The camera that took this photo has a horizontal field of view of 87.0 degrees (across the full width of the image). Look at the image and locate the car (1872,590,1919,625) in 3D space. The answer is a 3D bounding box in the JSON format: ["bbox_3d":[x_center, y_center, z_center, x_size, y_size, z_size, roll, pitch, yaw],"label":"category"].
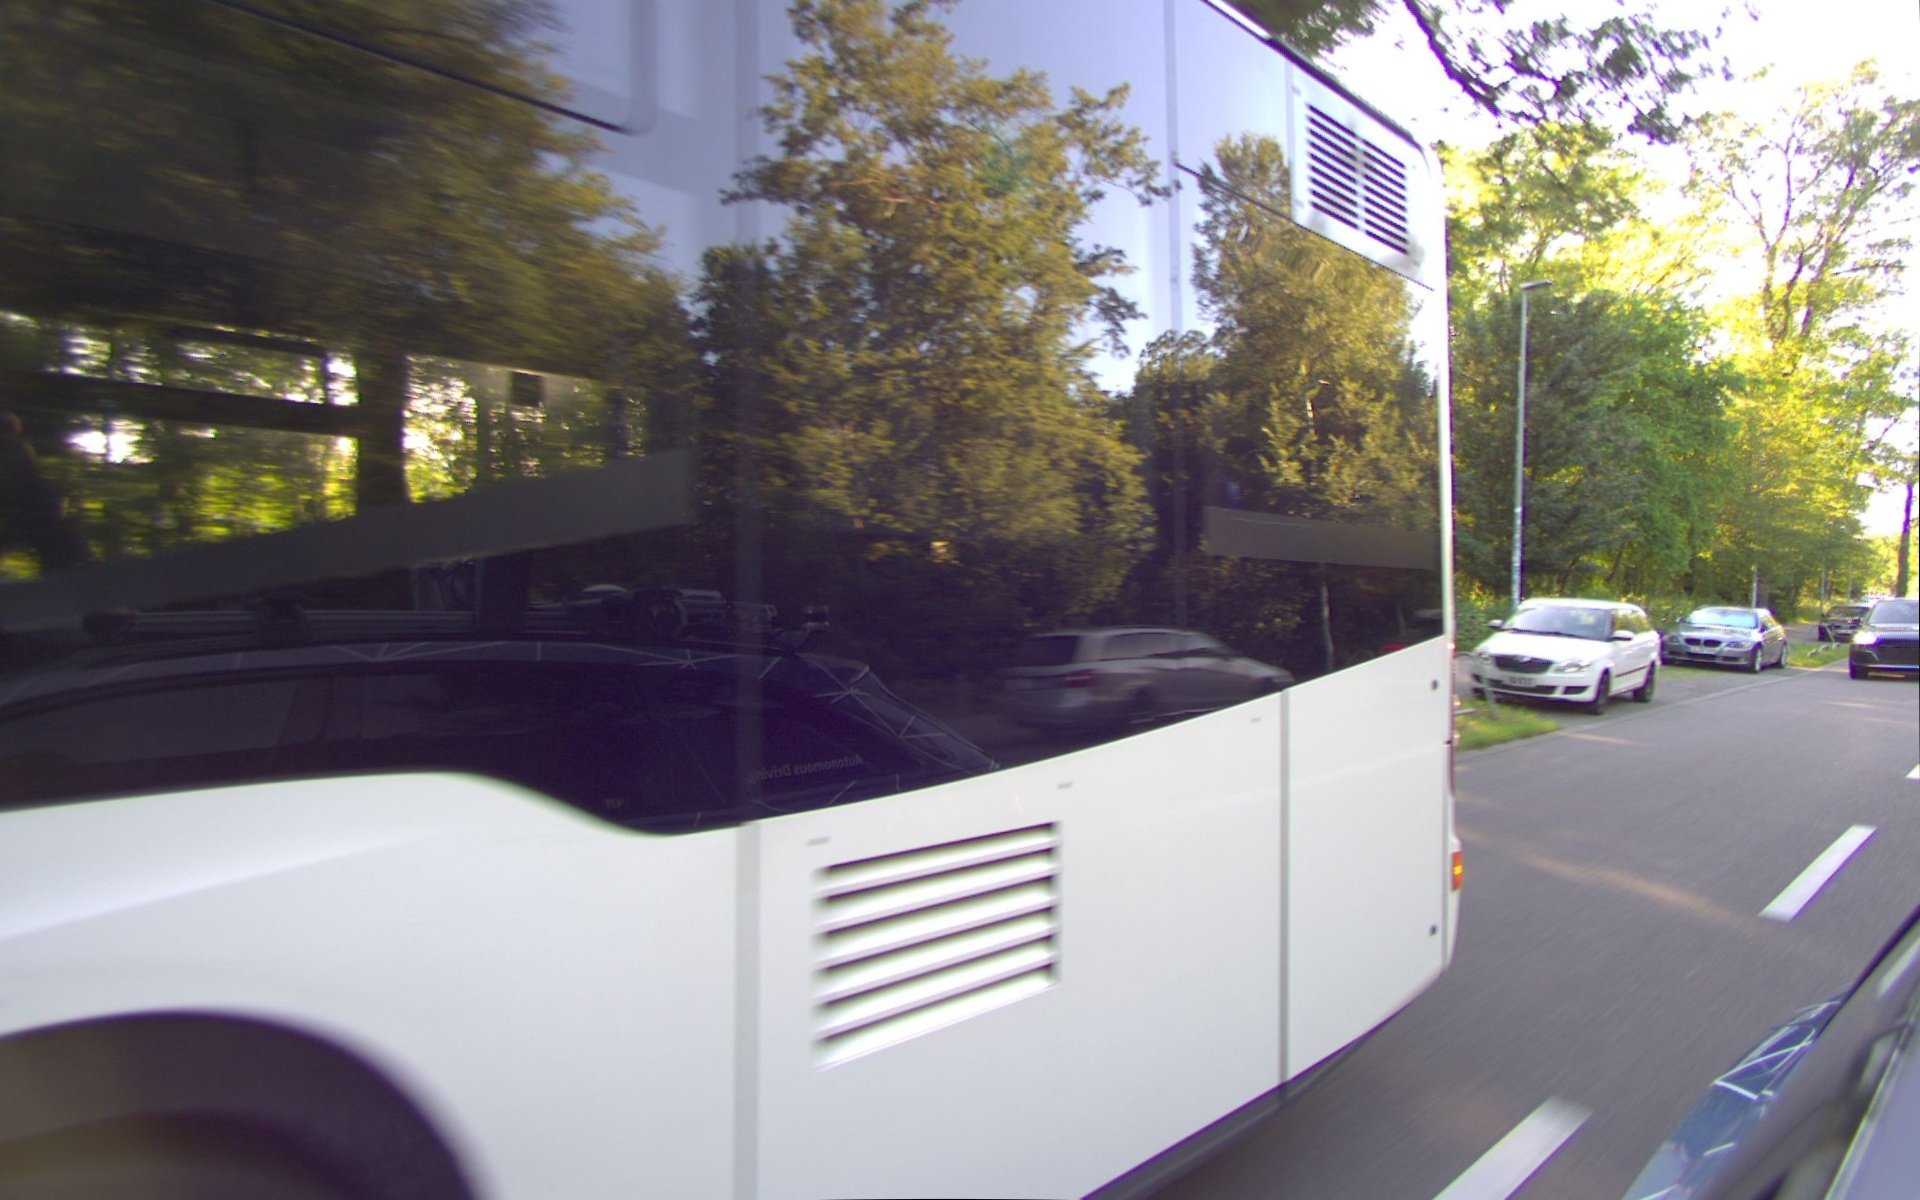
[{"bbox_3d":[48.246,0.373,51.887,4.645,1.604,1.855,0,4,-45],"label":"car"}]

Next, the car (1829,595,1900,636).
[{"bbox_3d":[34.108,0.543,38.143,3.881,1.409,1.737,0,2,-45],"label":"car"}]

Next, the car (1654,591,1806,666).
[{"bbox_3d":[17.495,0.576,22.924,4.443,1.408,1.857,0,4,-42],"label":"car"}]

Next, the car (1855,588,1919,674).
[{"bbox_3d":[19.962,0.595,20.848,3.932,1.638,1.859,0,2,-43],"label":"car"}]

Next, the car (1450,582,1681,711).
[{"bbox_3d":[8.908,0.568,14.762,4.099,1.529,1.731,0,4,-43],"label":"car"}]
